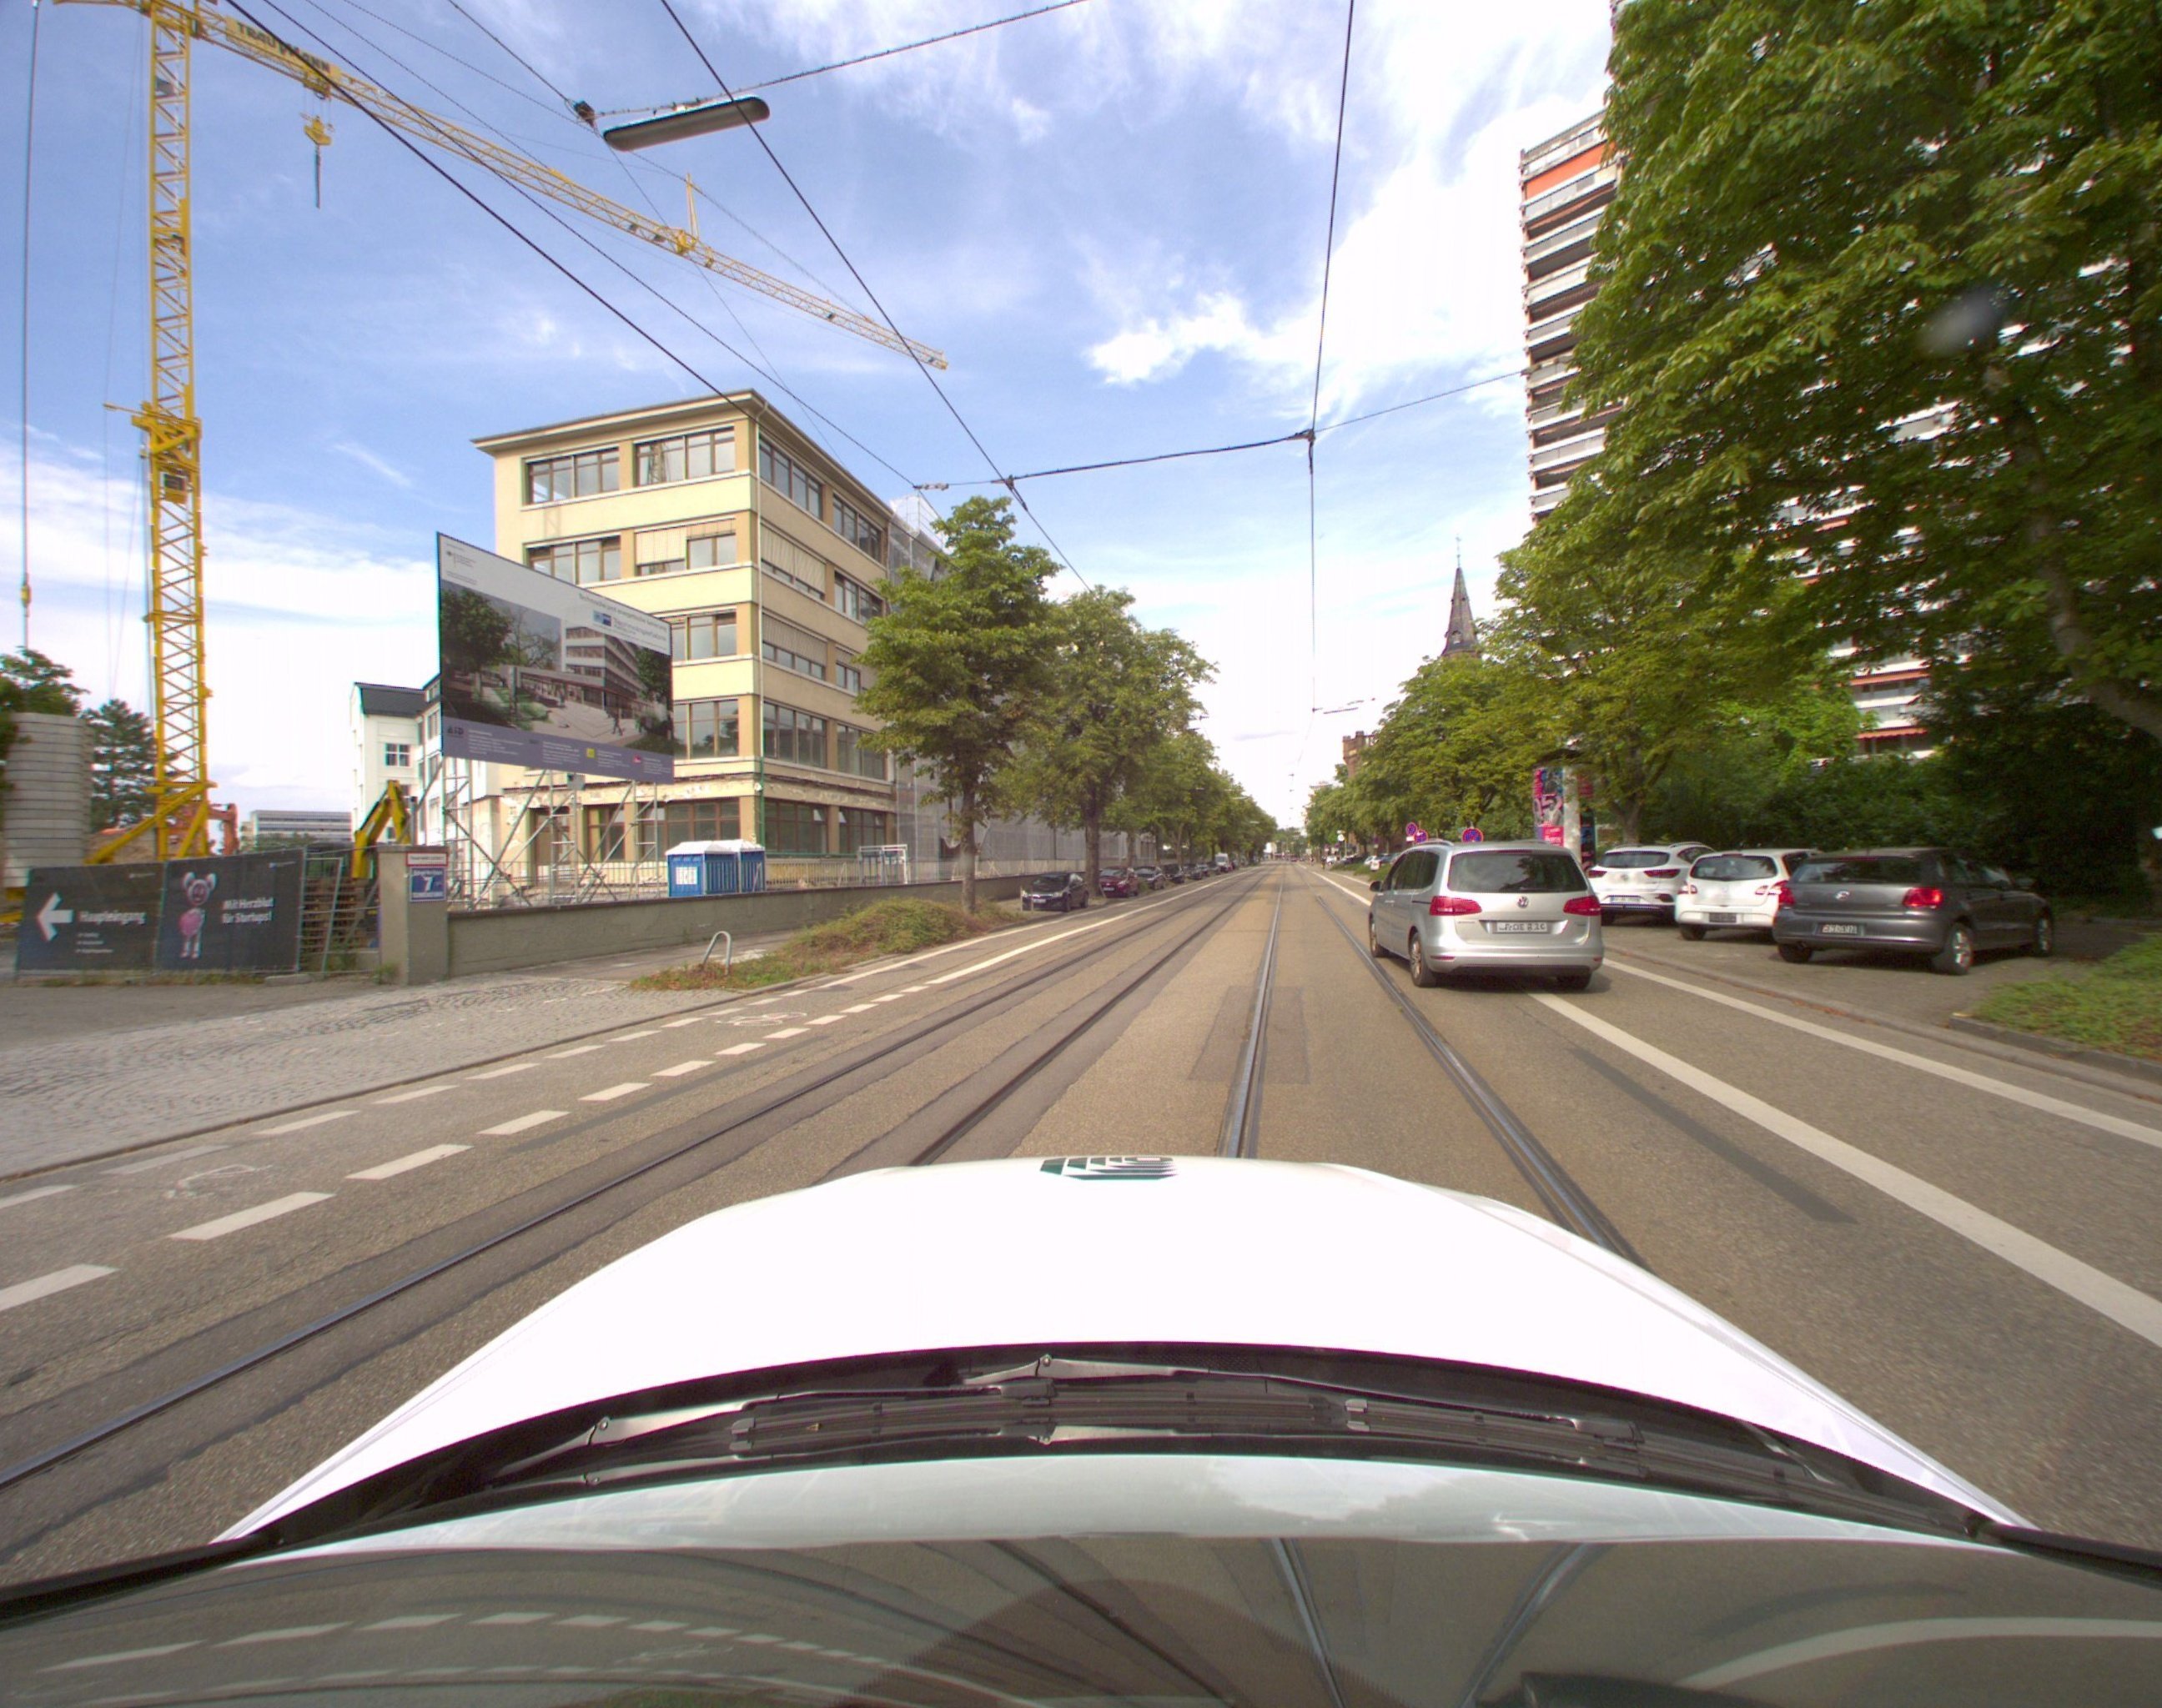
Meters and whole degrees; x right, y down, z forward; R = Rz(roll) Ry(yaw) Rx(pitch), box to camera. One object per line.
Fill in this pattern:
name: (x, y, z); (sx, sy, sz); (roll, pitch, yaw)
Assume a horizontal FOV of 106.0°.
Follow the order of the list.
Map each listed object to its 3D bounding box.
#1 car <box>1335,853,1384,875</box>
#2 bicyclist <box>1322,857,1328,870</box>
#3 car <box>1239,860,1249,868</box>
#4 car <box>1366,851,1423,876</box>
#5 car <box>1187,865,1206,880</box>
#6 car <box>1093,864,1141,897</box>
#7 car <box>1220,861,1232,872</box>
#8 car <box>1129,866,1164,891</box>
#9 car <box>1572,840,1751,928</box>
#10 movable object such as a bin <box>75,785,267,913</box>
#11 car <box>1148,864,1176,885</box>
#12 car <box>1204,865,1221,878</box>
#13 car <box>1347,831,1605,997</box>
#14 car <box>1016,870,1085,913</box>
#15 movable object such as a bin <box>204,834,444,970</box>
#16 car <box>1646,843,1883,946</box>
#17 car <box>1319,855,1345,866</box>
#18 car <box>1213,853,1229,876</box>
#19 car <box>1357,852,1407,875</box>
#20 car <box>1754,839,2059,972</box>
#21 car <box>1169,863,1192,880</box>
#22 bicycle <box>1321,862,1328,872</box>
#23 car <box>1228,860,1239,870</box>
car: (21.836, 0.794, 63.808); (3.659, 1.602, 1.665); (-1, -1, -32)
bicyclist: (28.136, 1.059, 94.022); (0.589, 1.459, 0.878); (-2, -1, 11)
car: (29.039, 1.827, 144.752); (1.579, 1.402, 3.563); (-1, -1, 14)
car: (21.080, 0.654, 54.779); (3.659, 1.602, 1.665); (-1, -1, -32)
car: (11.211, 1.783, 78.937); (1.580, 1.402, 3.975); (-1, -1, 11)
car: (1.826, 1.285, 39.966); (1.624, 1.496, 3.976); (-1, -1, 13)
car: (20.311, 1.733, 113.978); (1.580, 1.402, 3.975); (-1, -1, 11)
car: (3.946, 1.444, 48.877); (1.580, 1.402, 3.975); (-1, -1, 11)
car: (11.808, 0.553, 16.536); (3.659, 1.602, 1.665); (-1, -1, -32)
movable object such as a bin: (-53.160, -0.141, 48.203); (3.865, 6.670, 10.890); (-1, -1, -27)
car: (5.900, 1.478, 59.029); (1.580, 1.402, 3.975); (-1, -1, 11)
car: (14.338, 1.901, 88.718); (1.580, 1.402, 3.975); (-1, -1, 11)
car: (4.822, 0.645, 10.739); (1.801, 1.701, 4.629); (-2, -1, 9)
car: (-1.031, 1.305, 29.695); (1.580, 1.402, 3.975); (-1, -1, 11)
movable object such as a bin: (-15.183, 0.915, 16.414); (3.024, 2.443, 2.511); (-2, -1, 23)
car: (11.368, 0.611, 13.534); (3.654, 1.475, 1.667); (-1, -1, -26)
car: (41.786, 1.024, 135.666); (3.964, 1.693, 2.004); (-2, -1, 8)
car: (17.510, 1.287, 101.786); (1.709, 2.704, 5.487); (-1, -1, 12)
car: (22.697, 0.711, 61.407); (3.659, 1.602, 1.665); (-1, -1, -32)
car: (10.617, 0.573, 10.465); (3.654, 1.420, 1.667); (-1, -1, -26)
car: (8.466, 1.464, 69.046); (1.580, 1.402, 3.975); (-1, -1, 11)
bicycle: (28.144, 1.509, 94.015); (0.589, 1.043, 1.984); (-2, -1, 11)
car: (23.716, 1.718, 126.512); (1.579, 1.402, 3.563); (-1, -1, 14)
